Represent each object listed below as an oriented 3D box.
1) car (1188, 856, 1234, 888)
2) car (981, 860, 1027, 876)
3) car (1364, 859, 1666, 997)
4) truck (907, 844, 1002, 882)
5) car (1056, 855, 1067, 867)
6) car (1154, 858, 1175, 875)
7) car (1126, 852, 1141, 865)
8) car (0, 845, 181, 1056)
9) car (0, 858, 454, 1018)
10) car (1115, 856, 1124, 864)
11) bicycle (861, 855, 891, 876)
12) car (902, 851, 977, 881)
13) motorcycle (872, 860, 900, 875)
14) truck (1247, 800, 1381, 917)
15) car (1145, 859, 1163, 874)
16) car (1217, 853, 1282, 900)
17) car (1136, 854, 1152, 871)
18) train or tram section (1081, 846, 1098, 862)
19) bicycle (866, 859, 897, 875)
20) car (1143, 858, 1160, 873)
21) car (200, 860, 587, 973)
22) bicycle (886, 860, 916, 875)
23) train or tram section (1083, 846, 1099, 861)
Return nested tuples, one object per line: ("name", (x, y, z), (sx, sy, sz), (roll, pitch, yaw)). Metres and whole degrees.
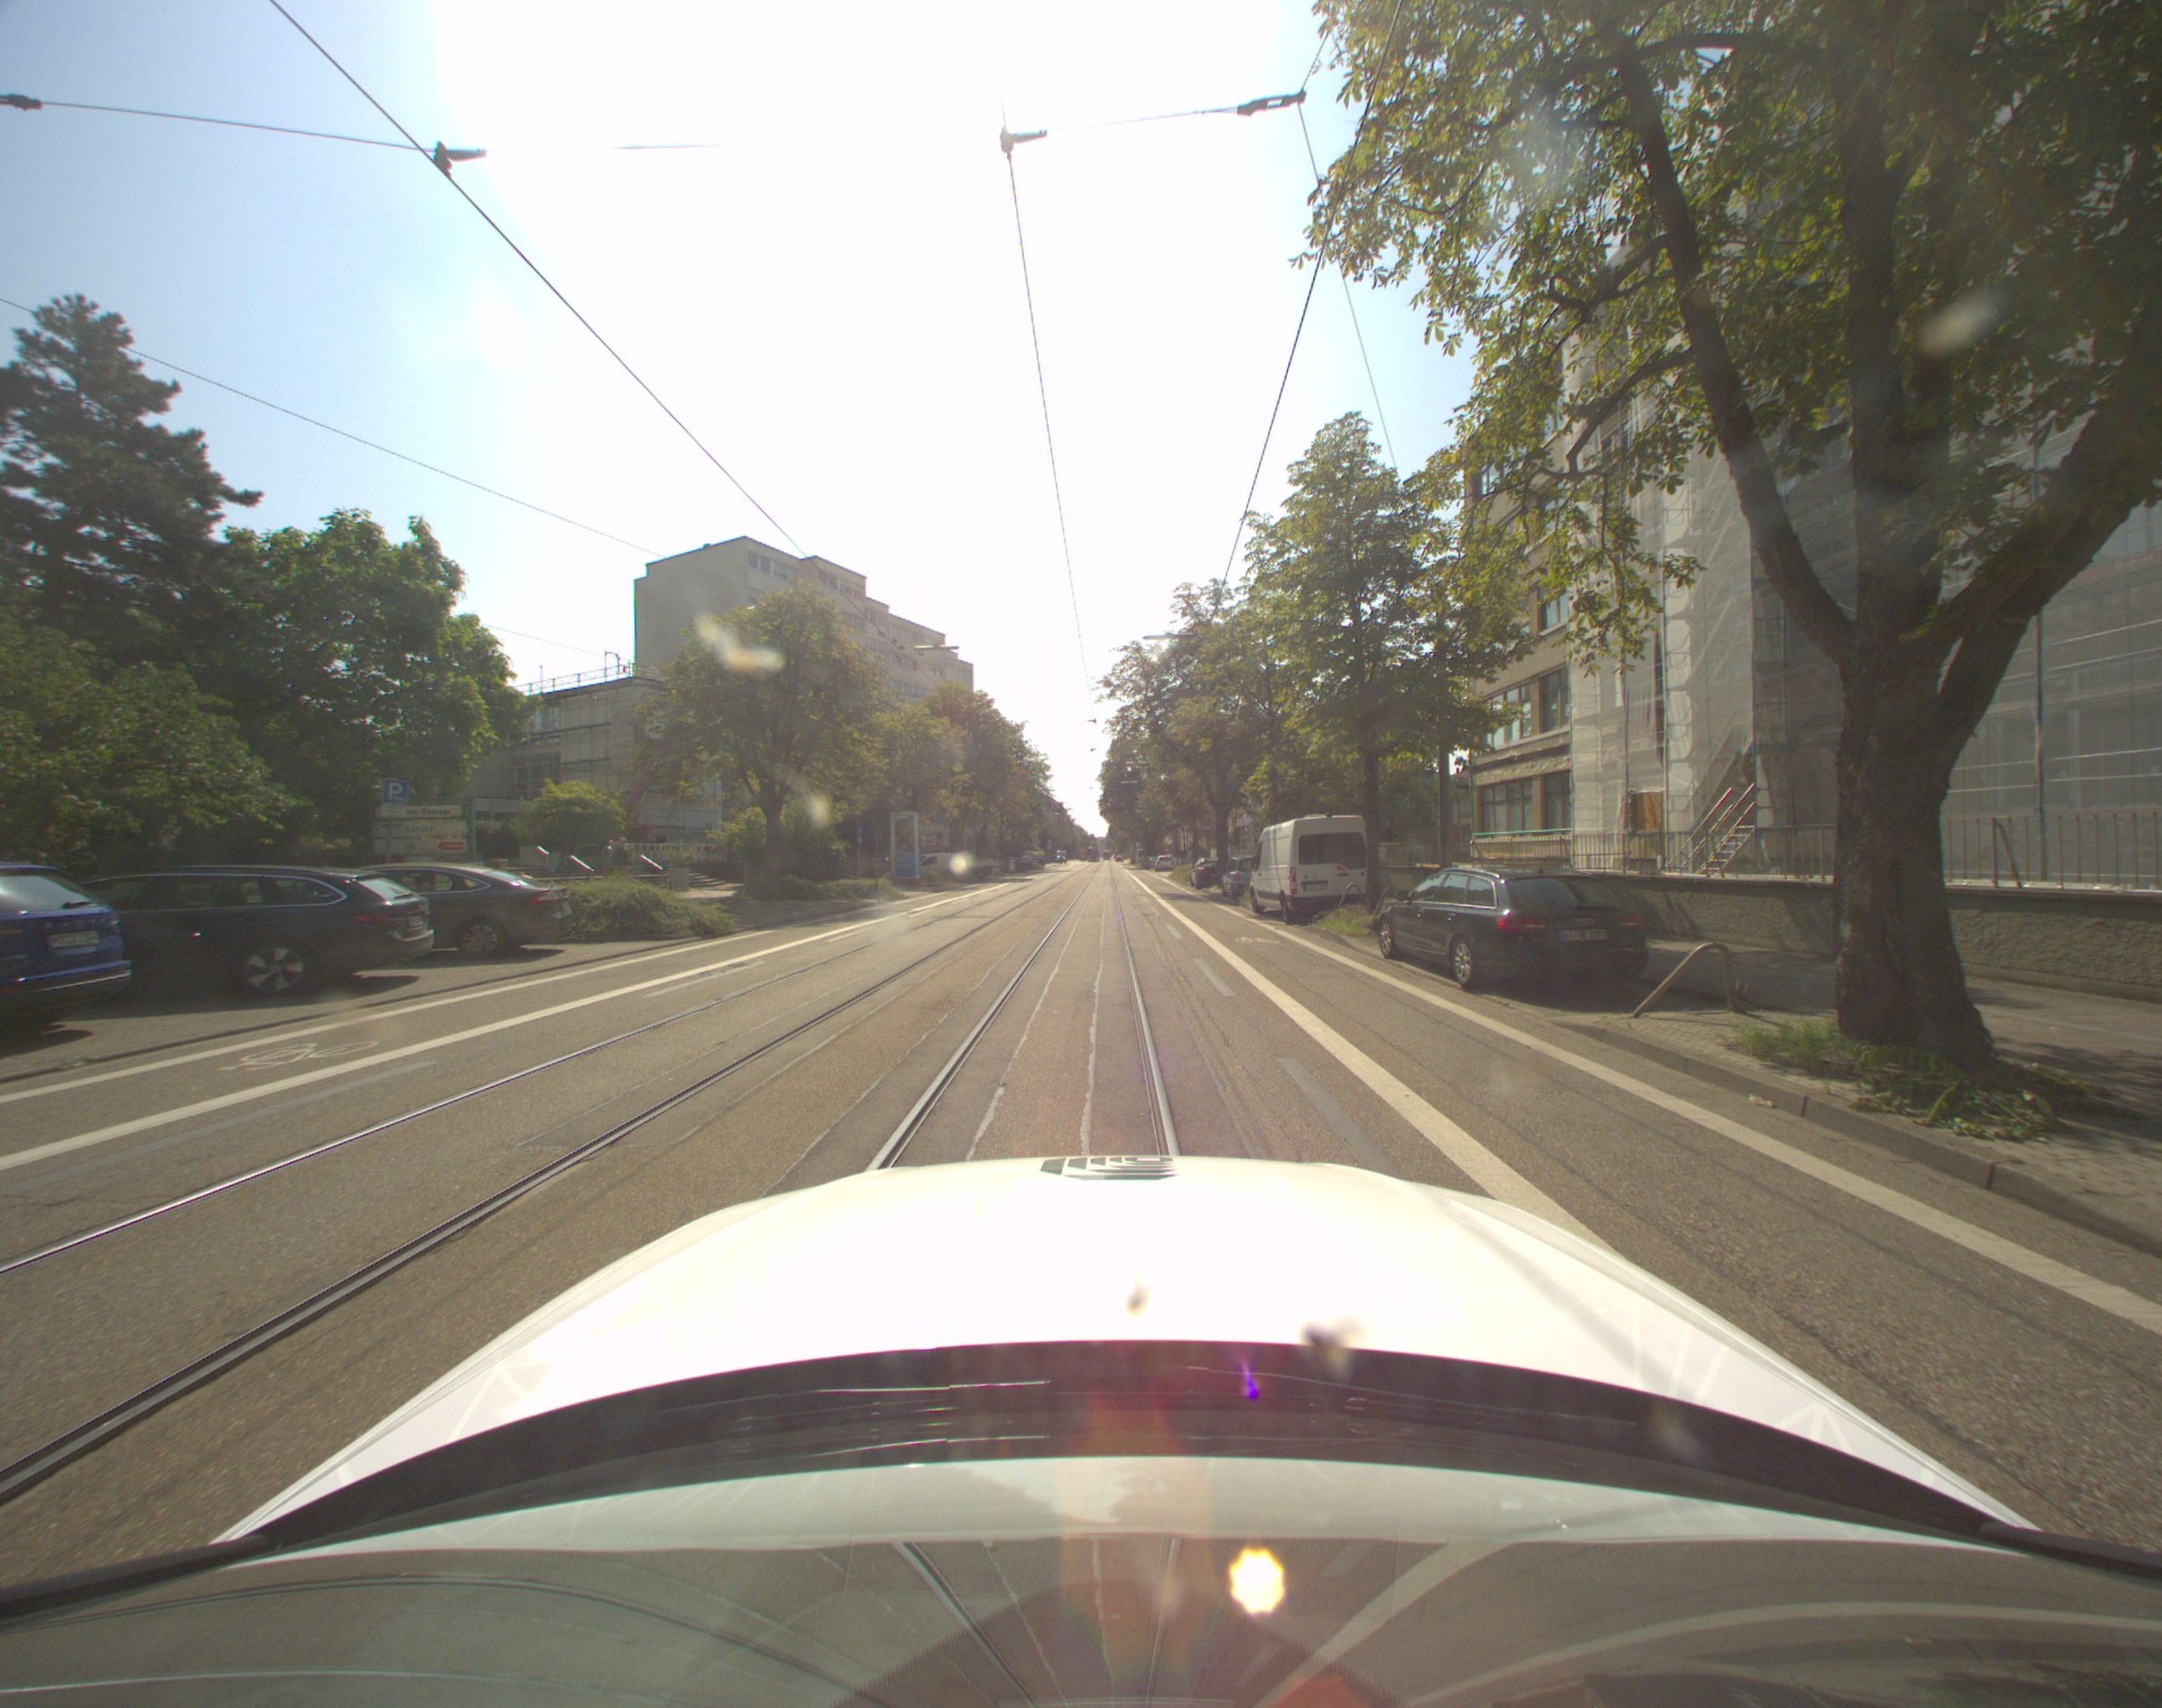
("car", (6.394, 0.853, 40.409), (1.667, 1.458, 4.666), (-2, 0, 2))
("car", (-7.879, 1.386, 84.027), (1.656, 1.451, 4.716), (-1, 1, 45))
("car", (5.412, 0.799, 11.004), (1.678, 1.440, 4.806), (-1, -1, 2))
("truck", (-8.511, 0.580, 55.100), (5.997, 2.434, 2.126), (-1, -1, -37))
("car", (-3.993, 1.357, 165.286), (2.236, 2.441, 3.997), (0, -1, -2))
("car", (7.537, 1.112, 73.831), (1.783, 1.446, 3.737), (-2, -1, 4))
("car", (9.150, 0.823, 142.252), (1.989, 2.233, 3.996), (-1, 0, -3))
("car", (-10.512, 0.774, 6.527), (4.002, 1.648, 1.829), (0, 0, -22))
("car", (-10.061, 0.853, 9.529), (4.007, 1.570, 1.766), (0, 0, -25))
("car", (8.630, 1.311, 182.052), (1.986, 1.801, 4.002), (0, -1, 2))
("bicycle", (-15.543, 0.860, 61.735), (2.318, 1.525, 0.605), (1, -1, 21))
("car", (-8.851, 0.736, 51.235), (4.308, 1.772, 1.803), (-1, -1, -41))
("motorcycle", (-15.136, 1.036, 63.193), (1.983, 1.155, 0.748), (1, -1, 21))
("truck", (5.798, 0.127, 21.078), (1.910, 2.599, 5.593), (-1, -1, 1))
("car", (7.807, 1.310, 87.318), (1.634, 1.511, 3.643), (0, -1, 2))
("car", (6.306, 0.821, 30.856), (1.667, 1.580, 4.173), (-3, -1, 2))
("car", (8.903, 1.238, 115.251), (1.986, 2.365, 4.002), (0, -1, 2))
("train or tram section", (2.045, -0.093, 193.994), (3.482, 3.704, 12.421), (0, 0, 3))
("bicycle", (-15.278, 0.994, 62.403), (2.318, 1.169, 0.605), (1, -1, 21))
("car", (8.065, 1.302, 93.519), (1.786, 1.577, 4.004), (-1, 0, 4))
("car", (-10.418, 0.867, 12.818), (4.302, 1.497, 1.766), (0, 0, -25))
("bicycle", (-14.331, 1.058, 64.916), (2.319, 1.169, 0.625), (1, -1, 19))
("train or tram section", (2.675, -0.109, 206.418), (3.482, 3.704, 12.421), (0, 0, 3))
